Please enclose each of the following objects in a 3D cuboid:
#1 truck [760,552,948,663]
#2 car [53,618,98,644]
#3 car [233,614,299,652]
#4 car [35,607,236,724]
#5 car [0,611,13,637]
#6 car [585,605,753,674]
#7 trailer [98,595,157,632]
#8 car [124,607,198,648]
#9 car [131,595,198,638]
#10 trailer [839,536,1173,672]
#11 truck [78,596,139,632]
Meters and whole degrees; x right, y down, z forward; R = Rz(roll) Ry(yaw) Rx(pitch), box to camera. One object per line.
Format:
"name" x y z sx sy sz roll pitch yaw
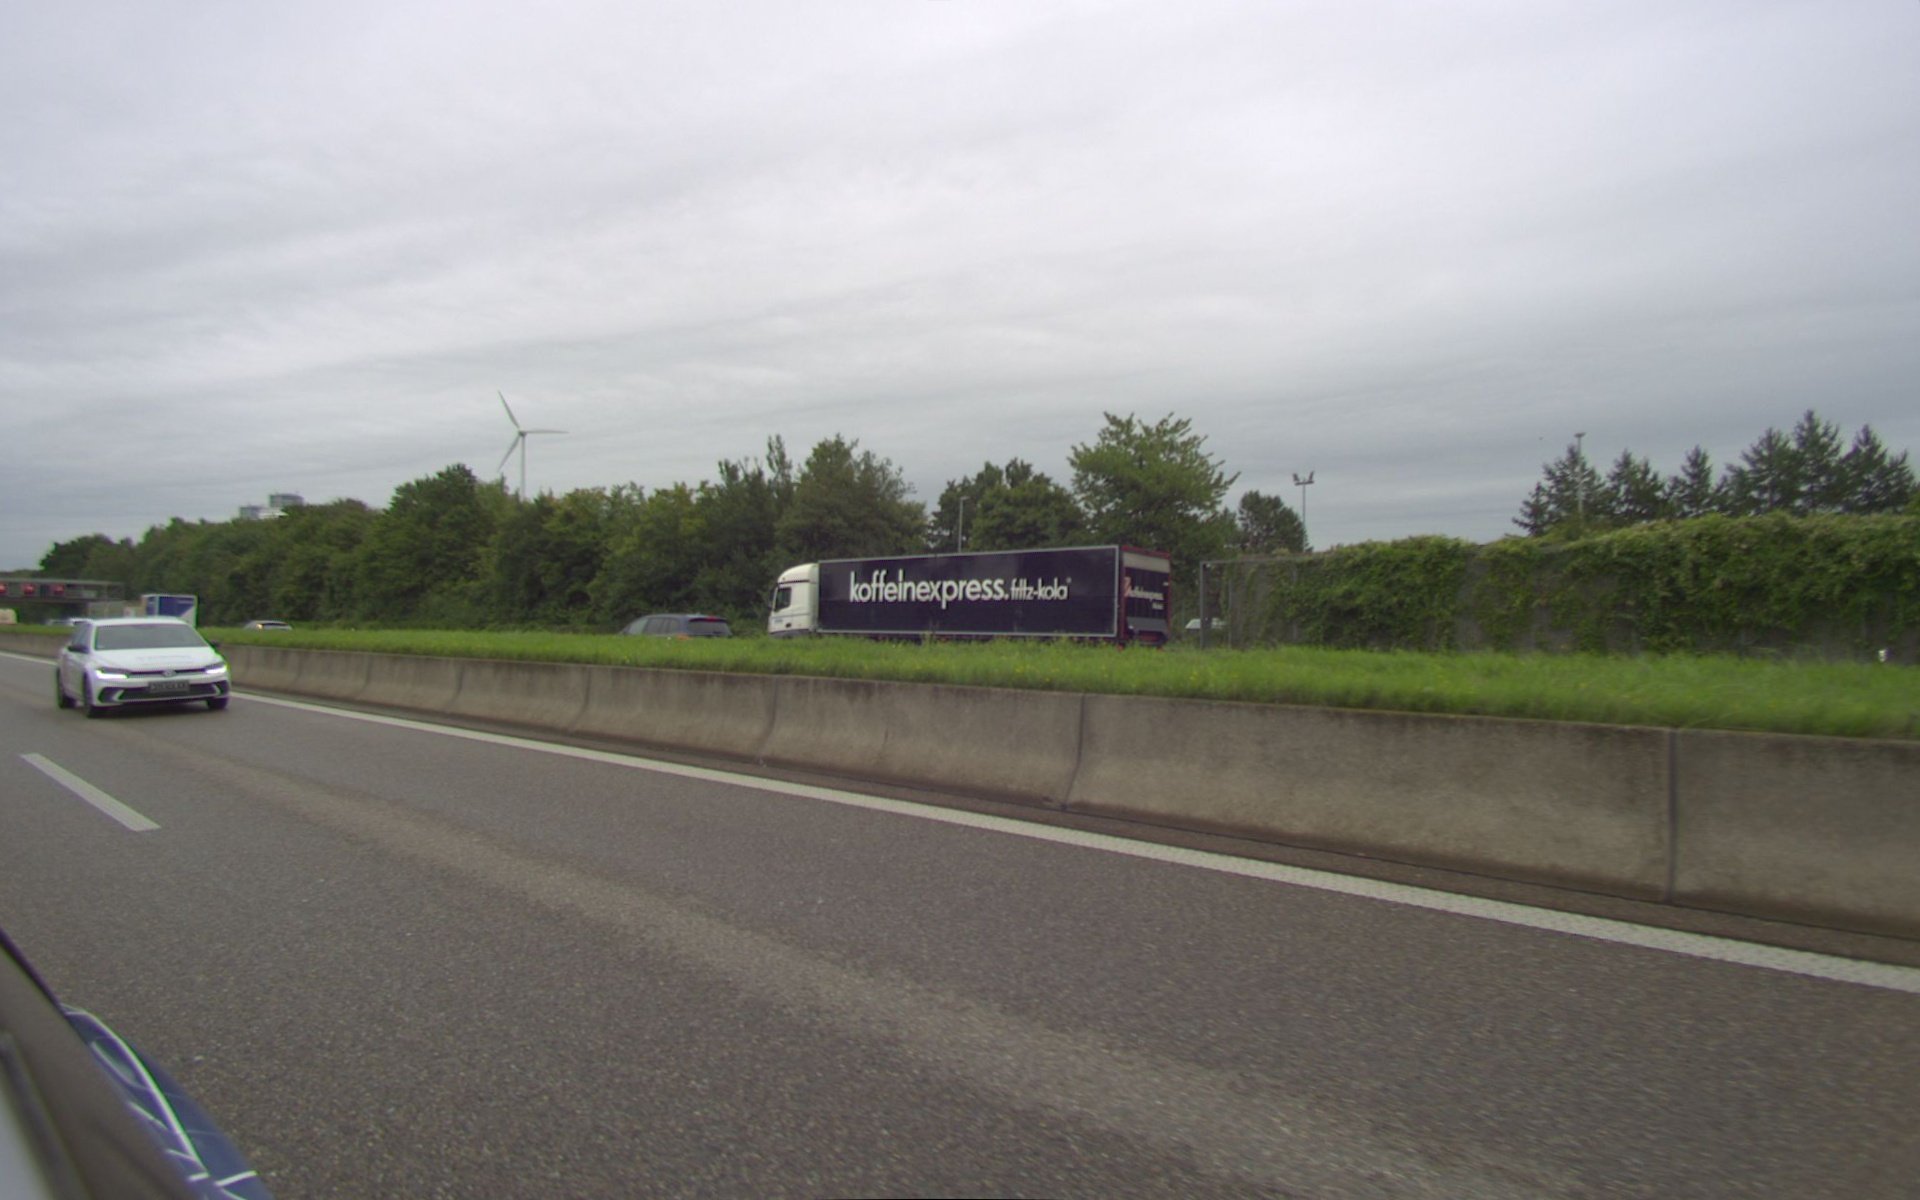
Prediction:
"truck" -3.596 0.244 33.163 6.580 3.297 2.291 -1 0 42
"car" -60.886 2.077 69.632 4.147 1.674 1.803 -1 0 41
"car" -34.739 1.608 50.656 3.881 1.762 1.803 -1 0 41
"car" -13.430 0.965 16.381 4.661 1.630 1.735 -1 -2 41
"car" -93.715 2.307 98.128 7.319 2.403 2.037 -1 0 41
"car" -7.648 0.988 26.352 4.739 1.620 1.973 -1 -1 41
"trailer" -74.502 1.203 90.510 7.868 3.100 2.749 -1 0 41
"car" -41.020 1.387 51.914 4.515 2.029 2.099 -1 -1 40
"car" -53.506 1.100 67.975 7.313 2.755 2.297 -1 0 42
"trailer" 0.871 0.134 29.115 10.560 3.314 2.282 -1 0 42
"truck" -81.674 1.294 96.947 11.354 3.245 2.854 -1 0 42
